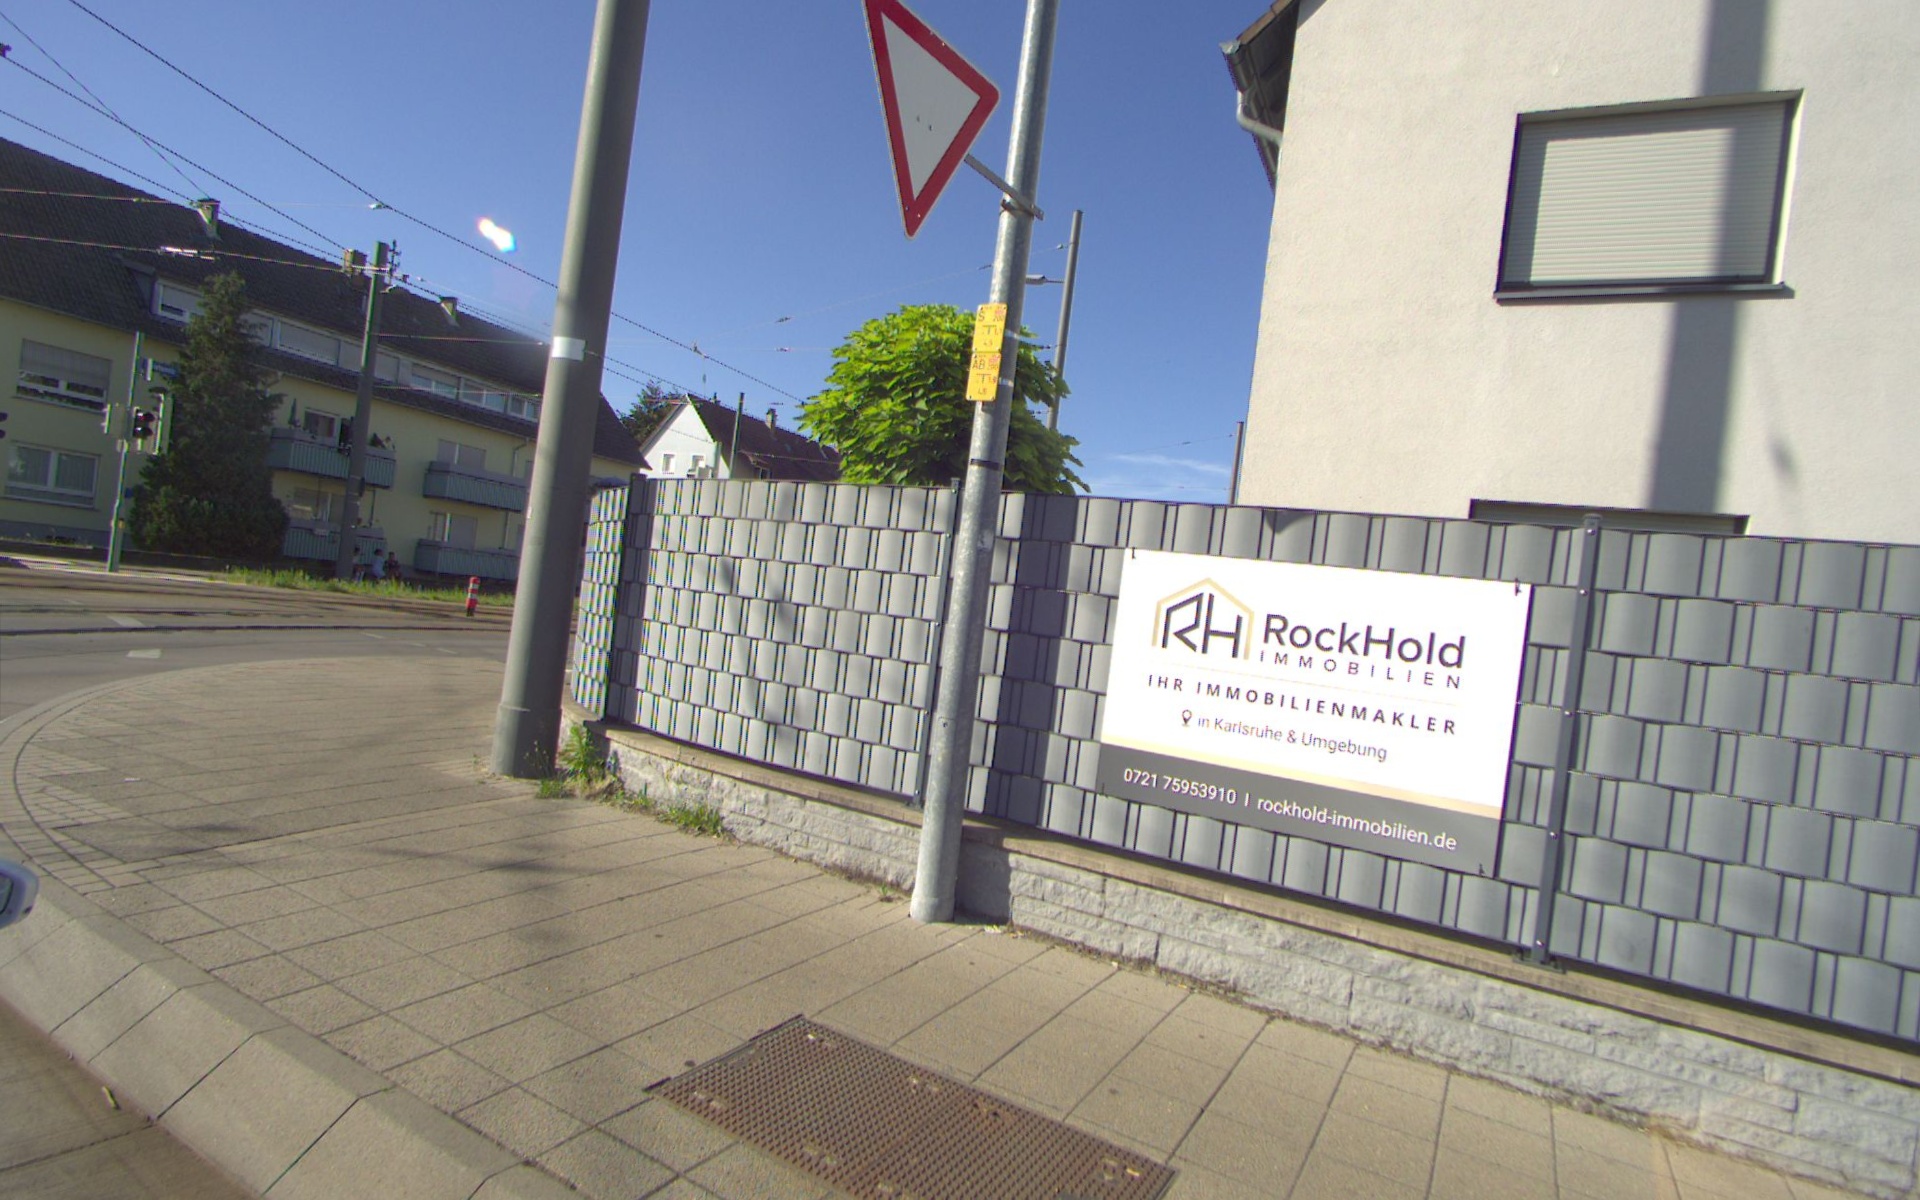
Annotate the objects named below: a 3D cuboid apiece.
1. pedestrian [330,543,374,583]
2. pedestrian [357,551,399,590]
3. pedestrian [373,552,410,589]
[{"bbox_3d":[-18.364,-1.116,30.398,0.805,1.059,0.688,7,-1,24],"label":"pedestrian"},{"bbox_3d":[-18.085,-0.919,31.261,0.806,1.077,0.626,8,-1,-6],"label":"pedestrian"},{"bbox_3d":[-18.005,-0.925,31.872,0.711,1.017,0.596,8,-1,3],"label":"pedestrian"}]
